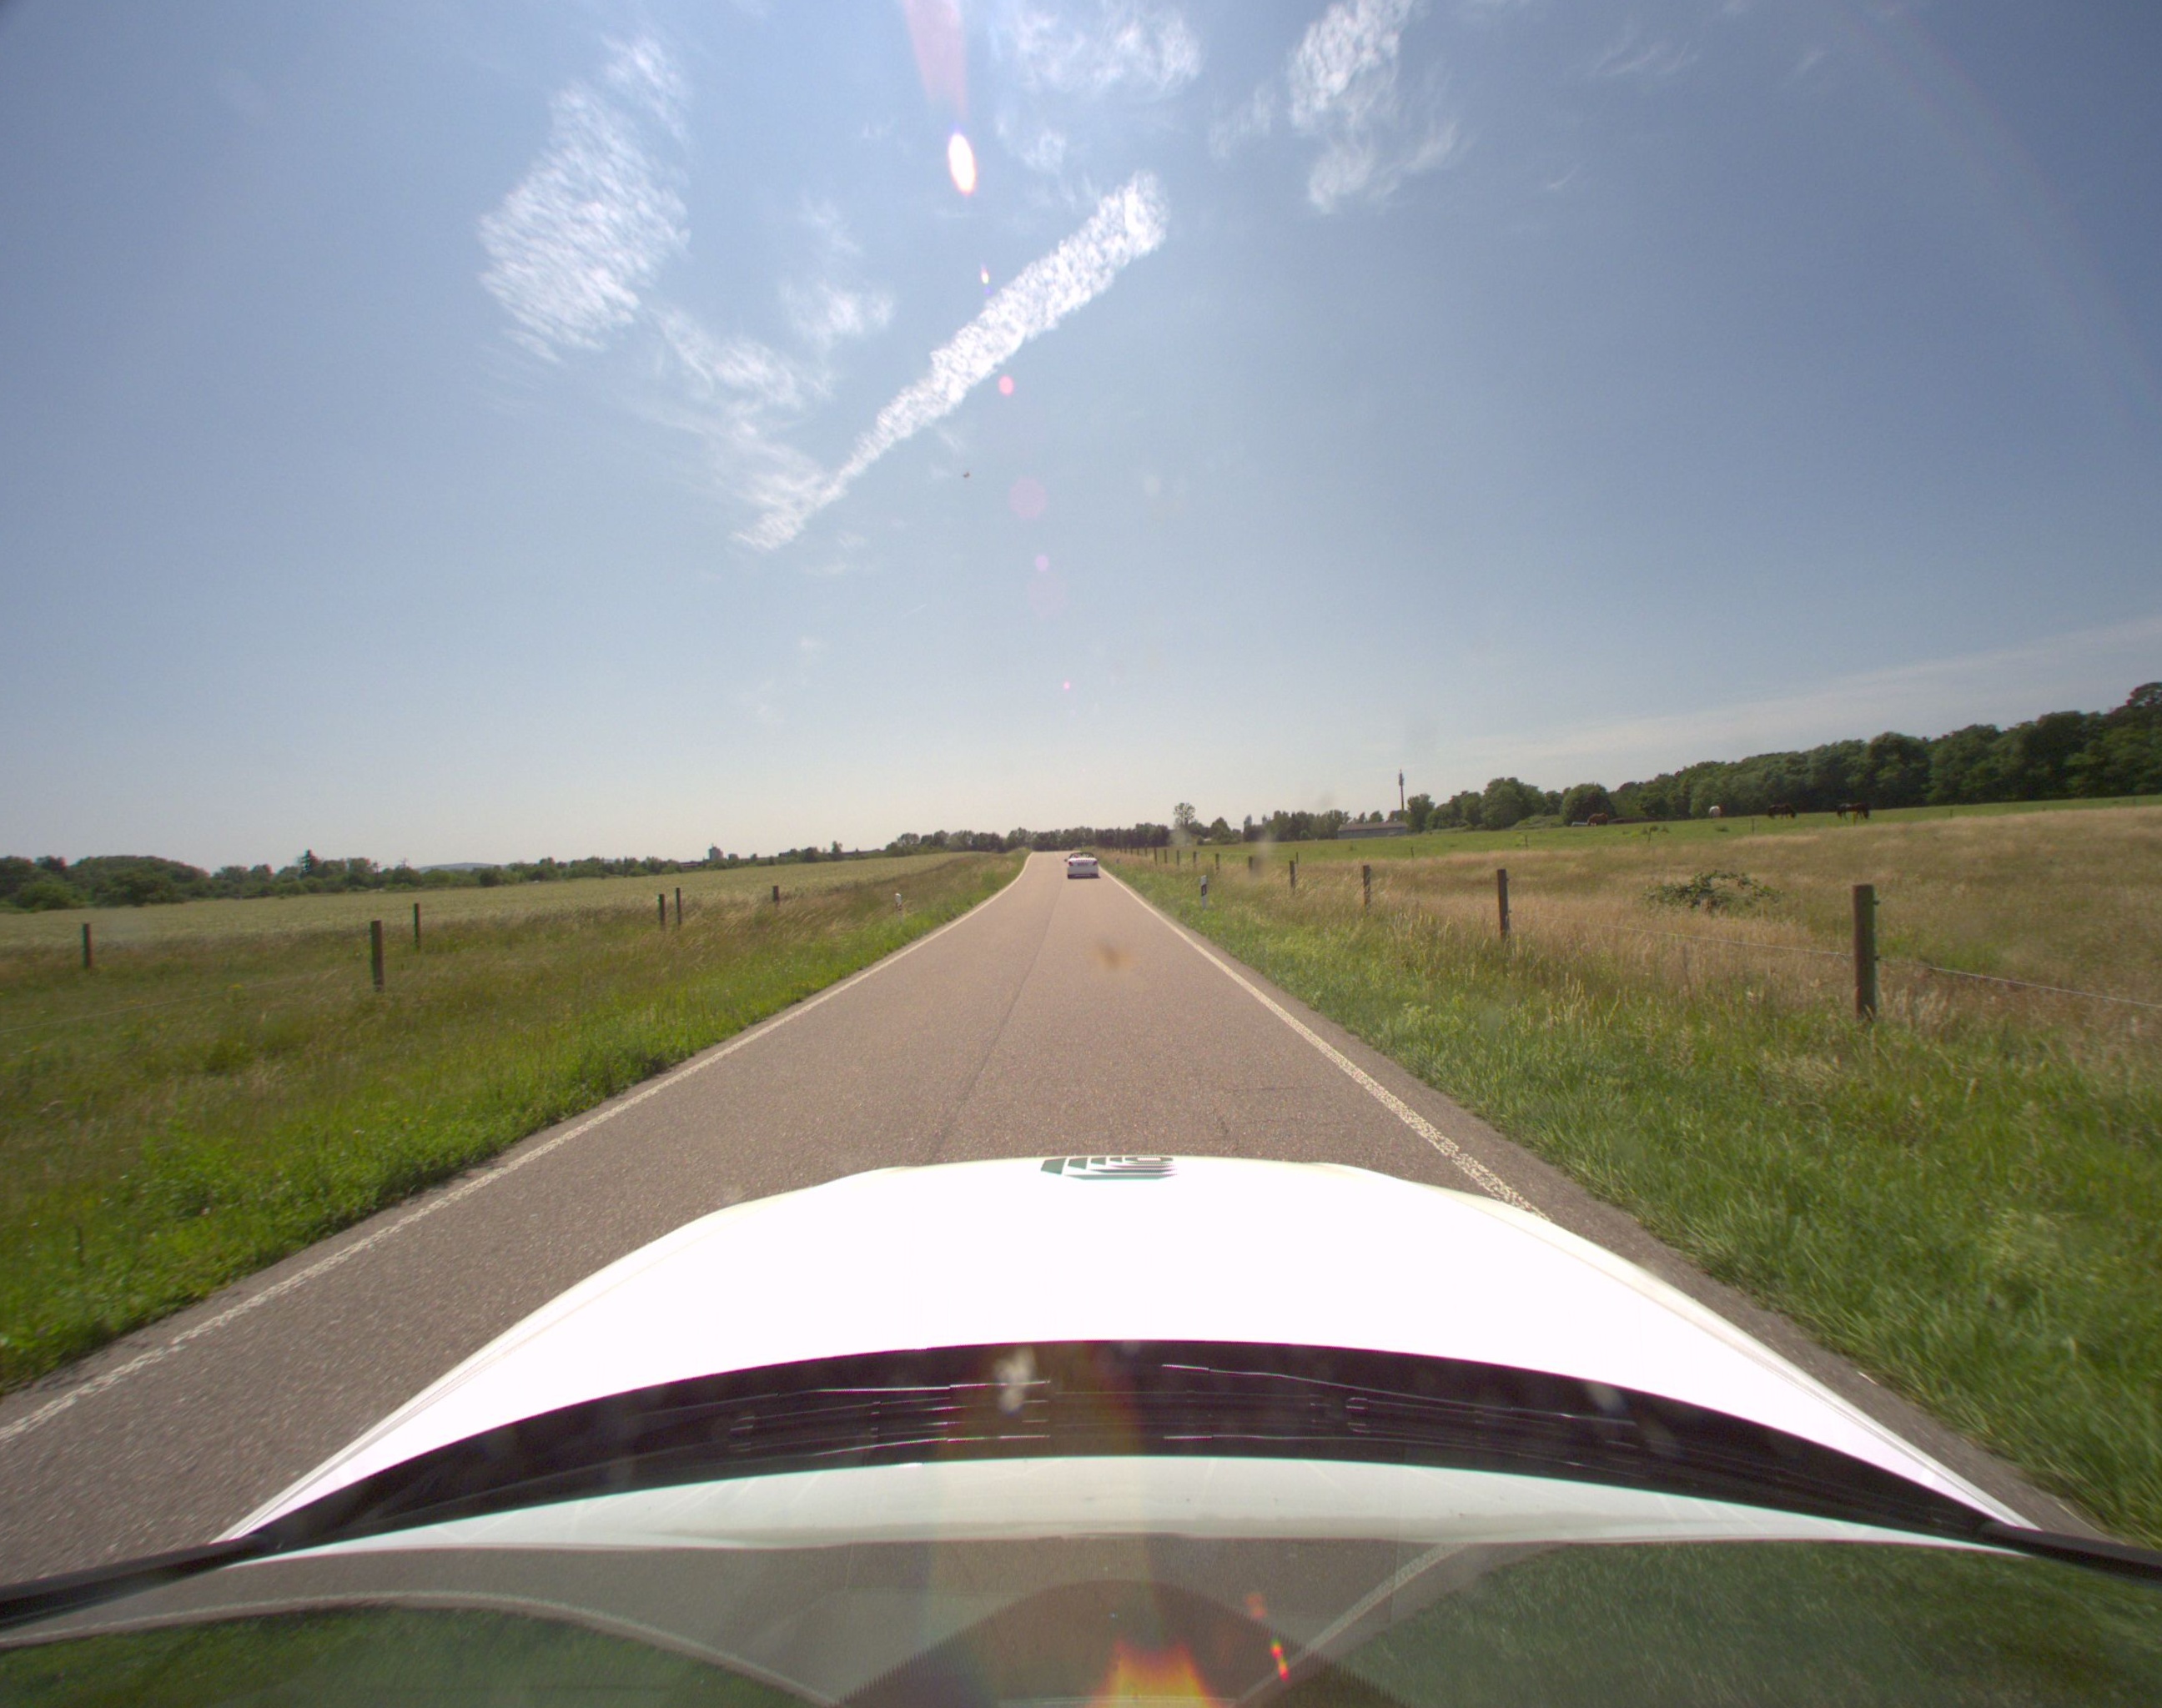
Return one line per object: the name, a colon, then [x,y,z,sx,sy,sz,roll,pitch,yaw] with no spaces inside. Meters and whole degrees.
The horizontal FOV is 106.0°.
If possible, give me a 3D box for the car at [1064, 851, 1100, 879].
car: [0.028,0.592,45.480,1.846,1.379,3.998,-1,1,-2]
